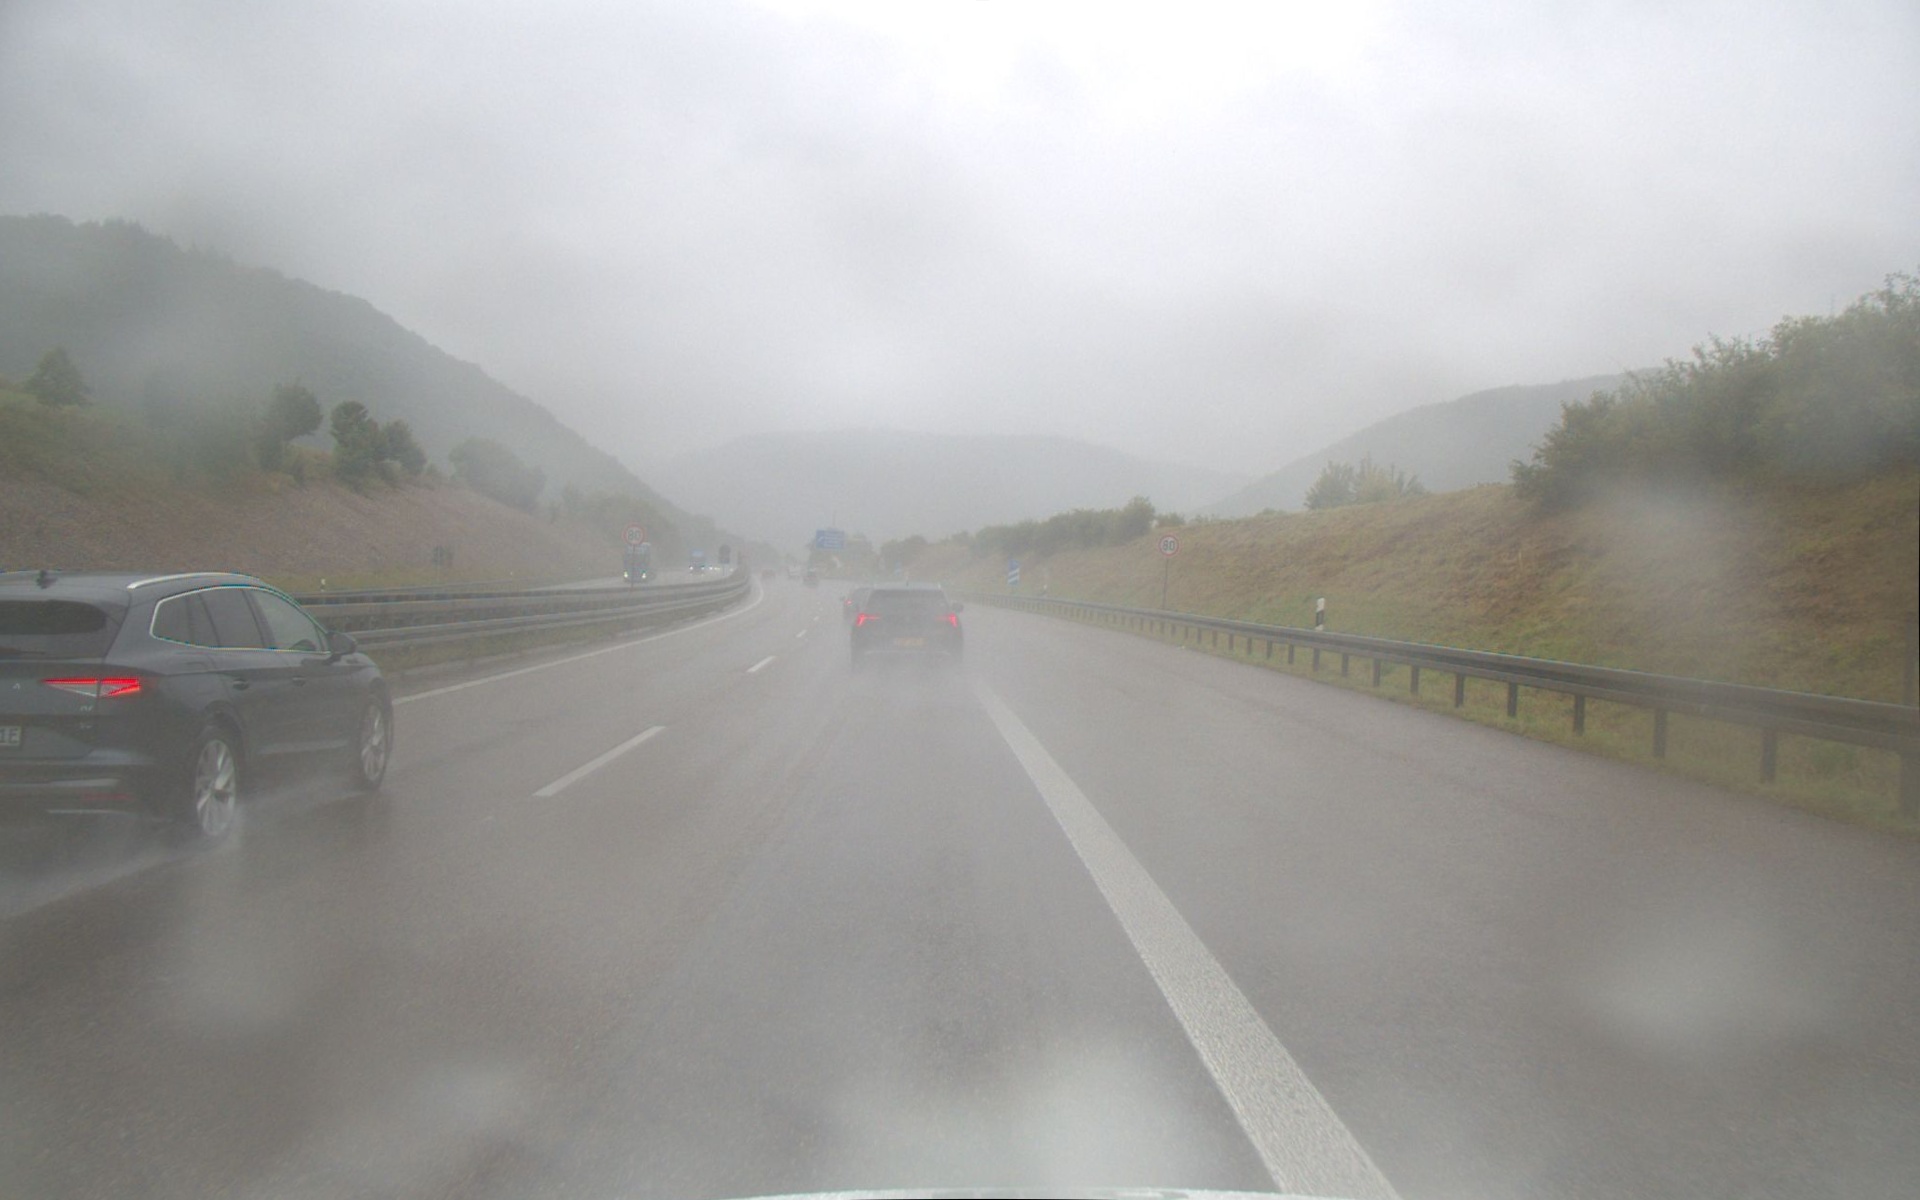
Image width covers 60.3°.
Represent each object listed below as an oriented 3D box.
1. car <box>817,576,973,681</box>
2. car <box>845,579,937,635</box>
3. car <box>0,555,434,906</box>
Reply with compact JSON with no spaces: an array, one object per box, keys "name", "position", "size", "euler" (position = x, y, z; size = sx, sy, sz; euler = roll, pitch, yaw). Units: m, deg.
[{"name":"car","position":[-0.991,0.459,27.885],"size":[2.357,1.542,4.783],"euler":[2,-1,0]},{"name":"car","position":[-2.230,0.217,51.482],"size":[2.614,1.542,5.712],"euler":[2,-1,-5]},{"name":"car","position":[-5.074,0.586,10.517],"size":[1.953,1.712,4.909],"euler":[-1,1,-1]}]
